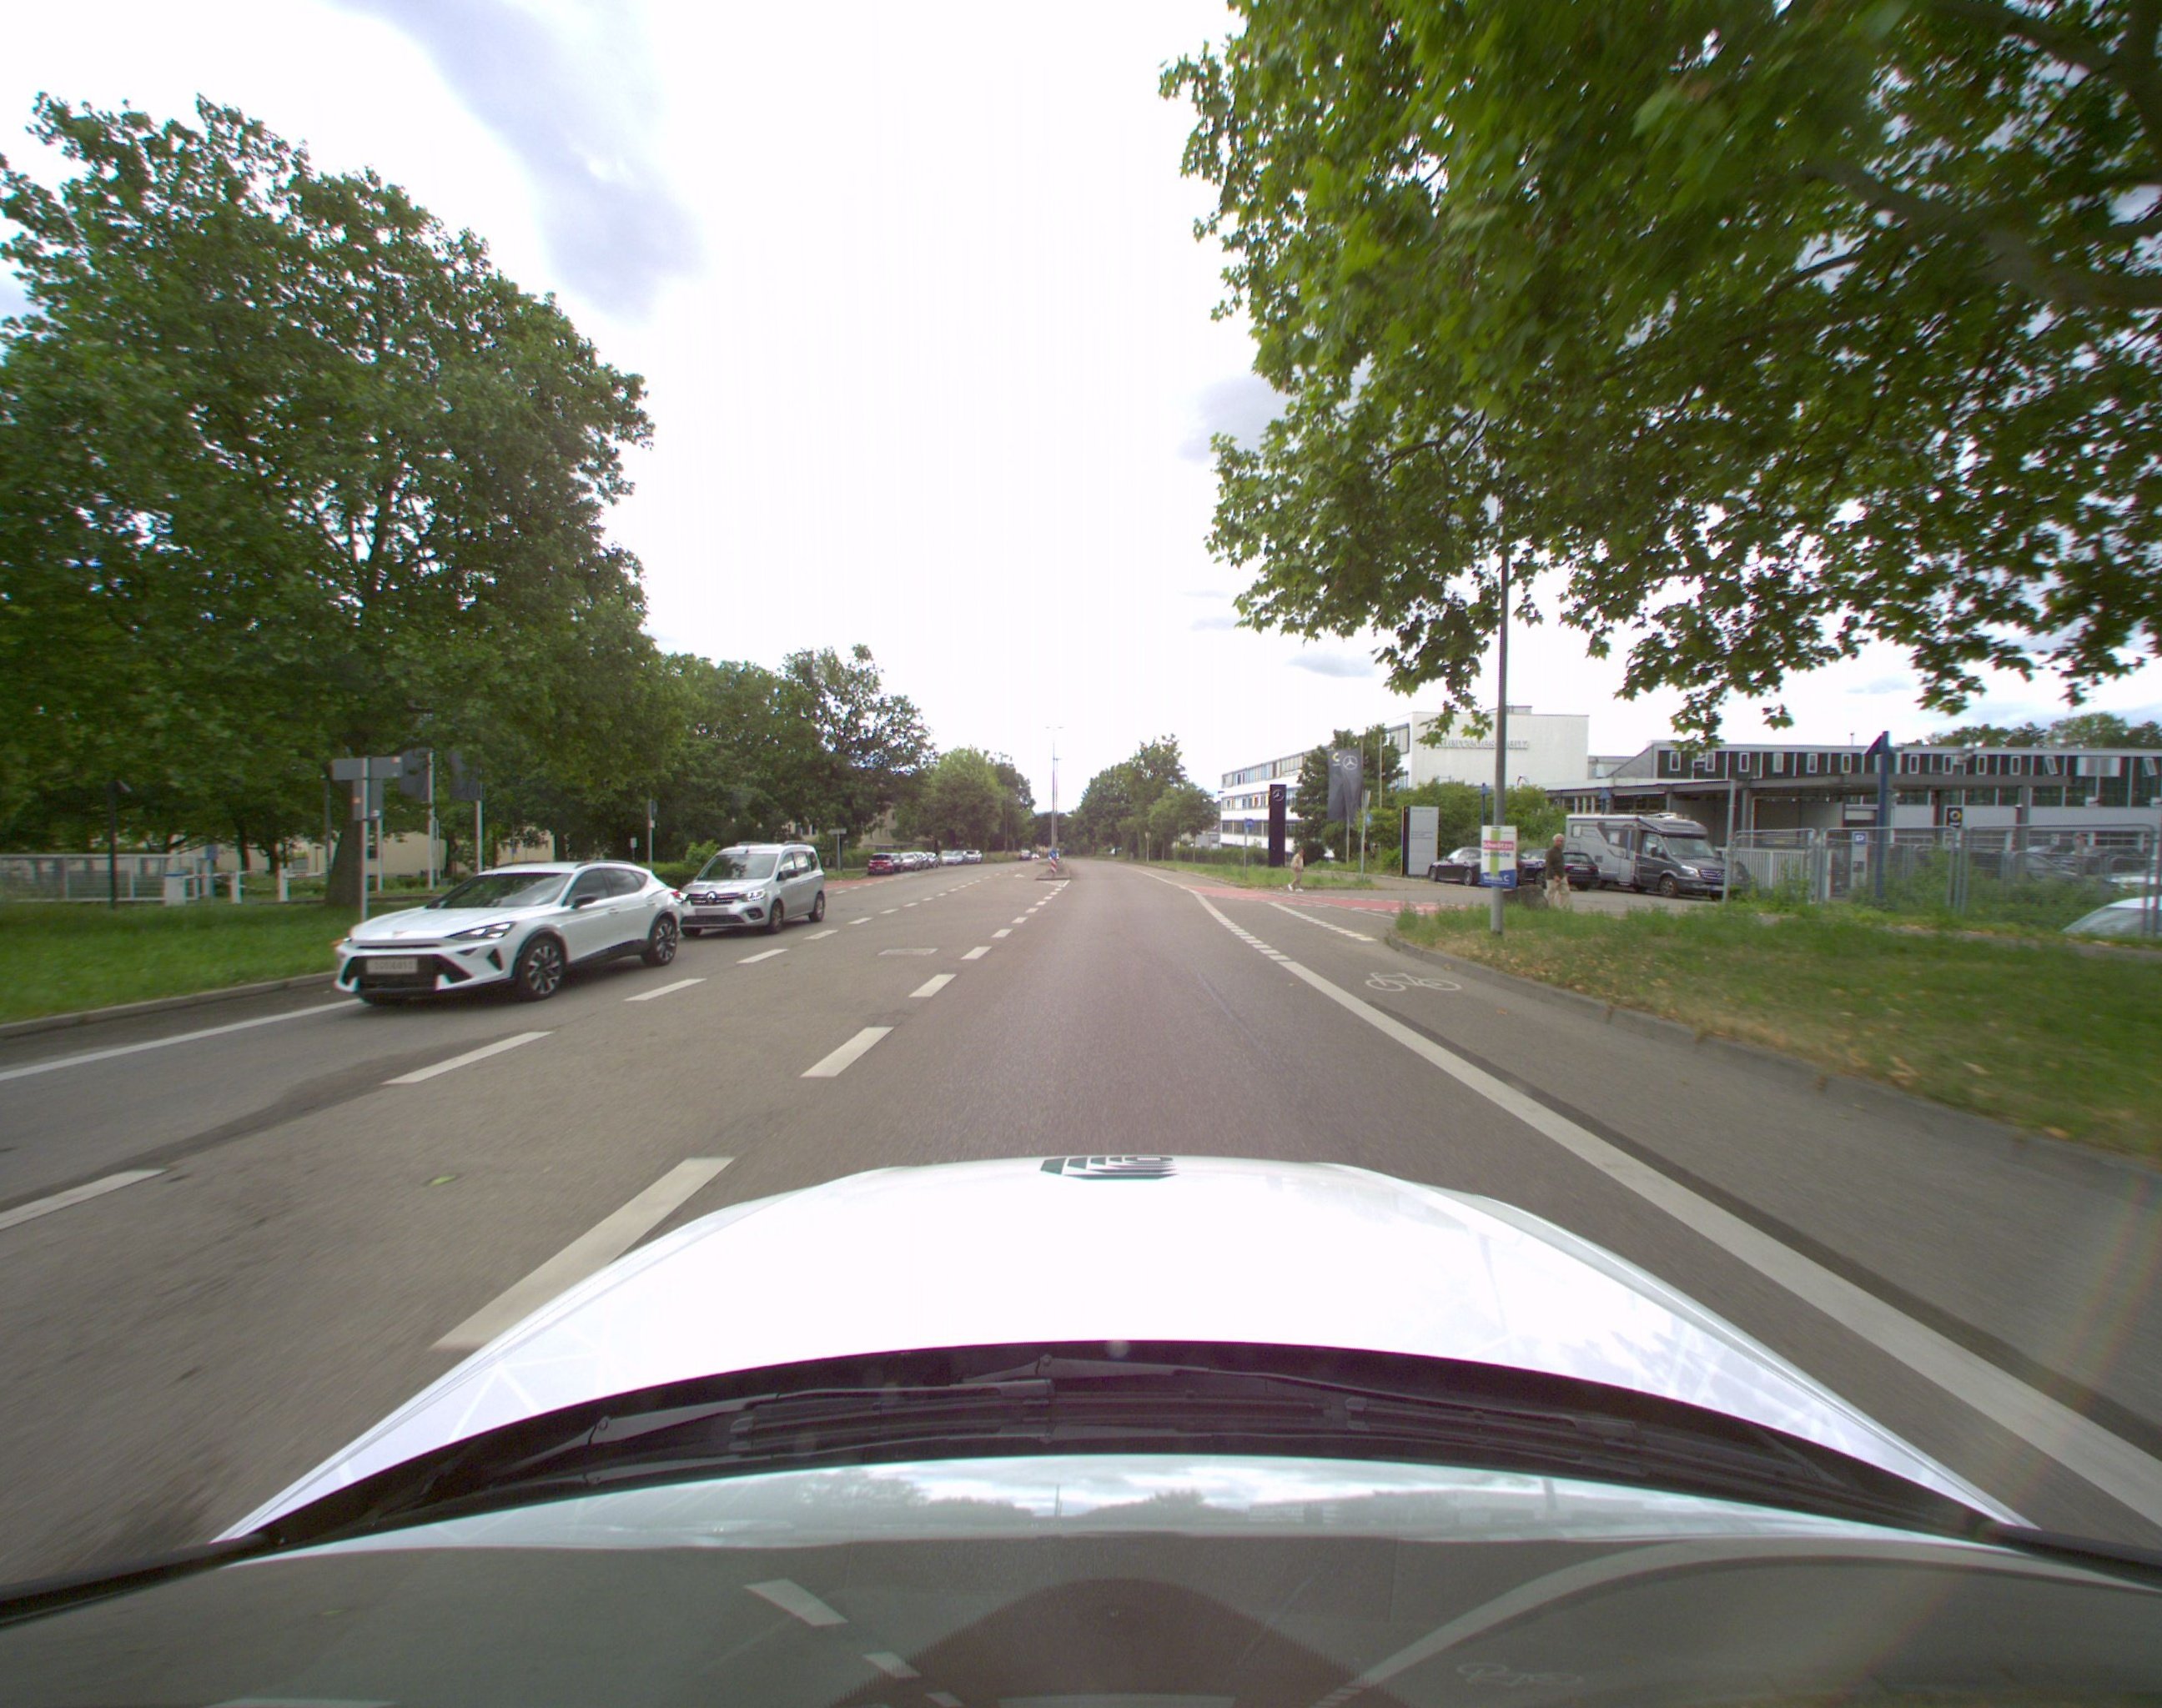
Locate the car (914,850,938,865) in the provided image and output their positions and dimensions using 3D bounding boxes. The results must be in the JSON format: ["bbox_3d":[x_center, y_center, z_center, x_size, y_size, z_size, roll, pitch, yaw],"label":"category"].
[{"bbox_3d":[-14.831,0.322,78.141,1.669,1.403,3.996,0,0,-3],"label":"car"}]

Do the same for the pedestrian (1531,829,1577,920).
[{"bbox_3d":[9.682,0.407,16.661,0.739,1.801,0.868,0,0,35],"label":"pedestrian"}]

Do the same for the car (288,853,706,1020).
[{"bbox_3d":[-6.827,0.806,10.387,1.841,1.520,4.813,-2,1,-1],"label":"car"}]

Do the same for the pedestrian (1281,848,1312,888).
[{"bbox_3d":[7.910,0.507,29.906,0.791,1.463,0.744,-1,0,-19],"label":"pedestrian"}]

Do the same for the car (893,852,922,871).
[{"bbox_3d":[-14.173,0.589,66.525,1.669,1.403,3.996,0,0,-3],"label":"car"}]

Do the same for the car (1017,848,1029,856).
[{"bbox_3d":[-9.664,-0.288,136.194,1.766,1.304,4.000,0,0,0],"label":"car"}]

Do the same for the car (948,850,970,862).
[{"bbox_3d":[-13.827,0.235,92.340,1.666,1.304,4.002,0,0,2],"label":"car"}]

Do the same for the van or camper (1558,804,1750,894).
[{"bbox_3d":[20.391,-0.206,29.538,1.960,2.868,6.915,0,1,-2],"label":"van or camper"}]

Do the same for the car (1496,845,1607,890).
[{"bbox_3d":[17.550,0.457,30.626,1.704,1.508,4.345,2,1,1],"label":"car"}]

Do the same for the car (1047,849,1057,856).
[{"bbox_3d":[-5.329,-0.253,148.297,1.606,1.304,4.000,0,0,0],"label":"car"}]

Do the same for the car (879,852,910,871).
[{"bbox_3d":[-14.210,0.543,62.262,1.669,1.403,3.996,0,0,-3],"label":"car"}]

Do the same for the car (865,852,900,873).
[{"bbox_3d":[-13.961,0.573,57.469,1.669,1.403,3.996,0,0,-3],"label":"car"}]

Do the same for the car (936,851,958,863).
[{"bbox_3d":[-14.401,0.319,87.213,1.677,1.304,3.975,0,0,-19],"label":"car"}]

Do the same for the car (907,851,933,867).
[{"bbox_3d":[-14.368,0.453,72.857,1.669,1.403,3.996,0,0,-3],"label":"car"}]

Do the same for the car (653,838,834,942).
[{"bbox_3d":[-6.806,0.623,17.058,1.841,1.803,4.649,-2,1,-1],"label":"car"}]

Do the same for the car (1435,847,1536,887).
[{"bbox_3d":[14.926,0.420,30.320,1.704,1.354,4.345,0,1,1],"label":"car"}]

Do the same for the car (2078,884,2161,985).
[{"bbox_3d":[19.543,1.344,13.710,3.727,1.618,1.689,0,0,-5],"label":"car"}]

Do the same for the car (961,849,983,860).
[{"bbox_3d":[-12.969,0.019,97.191,1.664,1.304,4.007,0,0,6],"label":"car"}]
